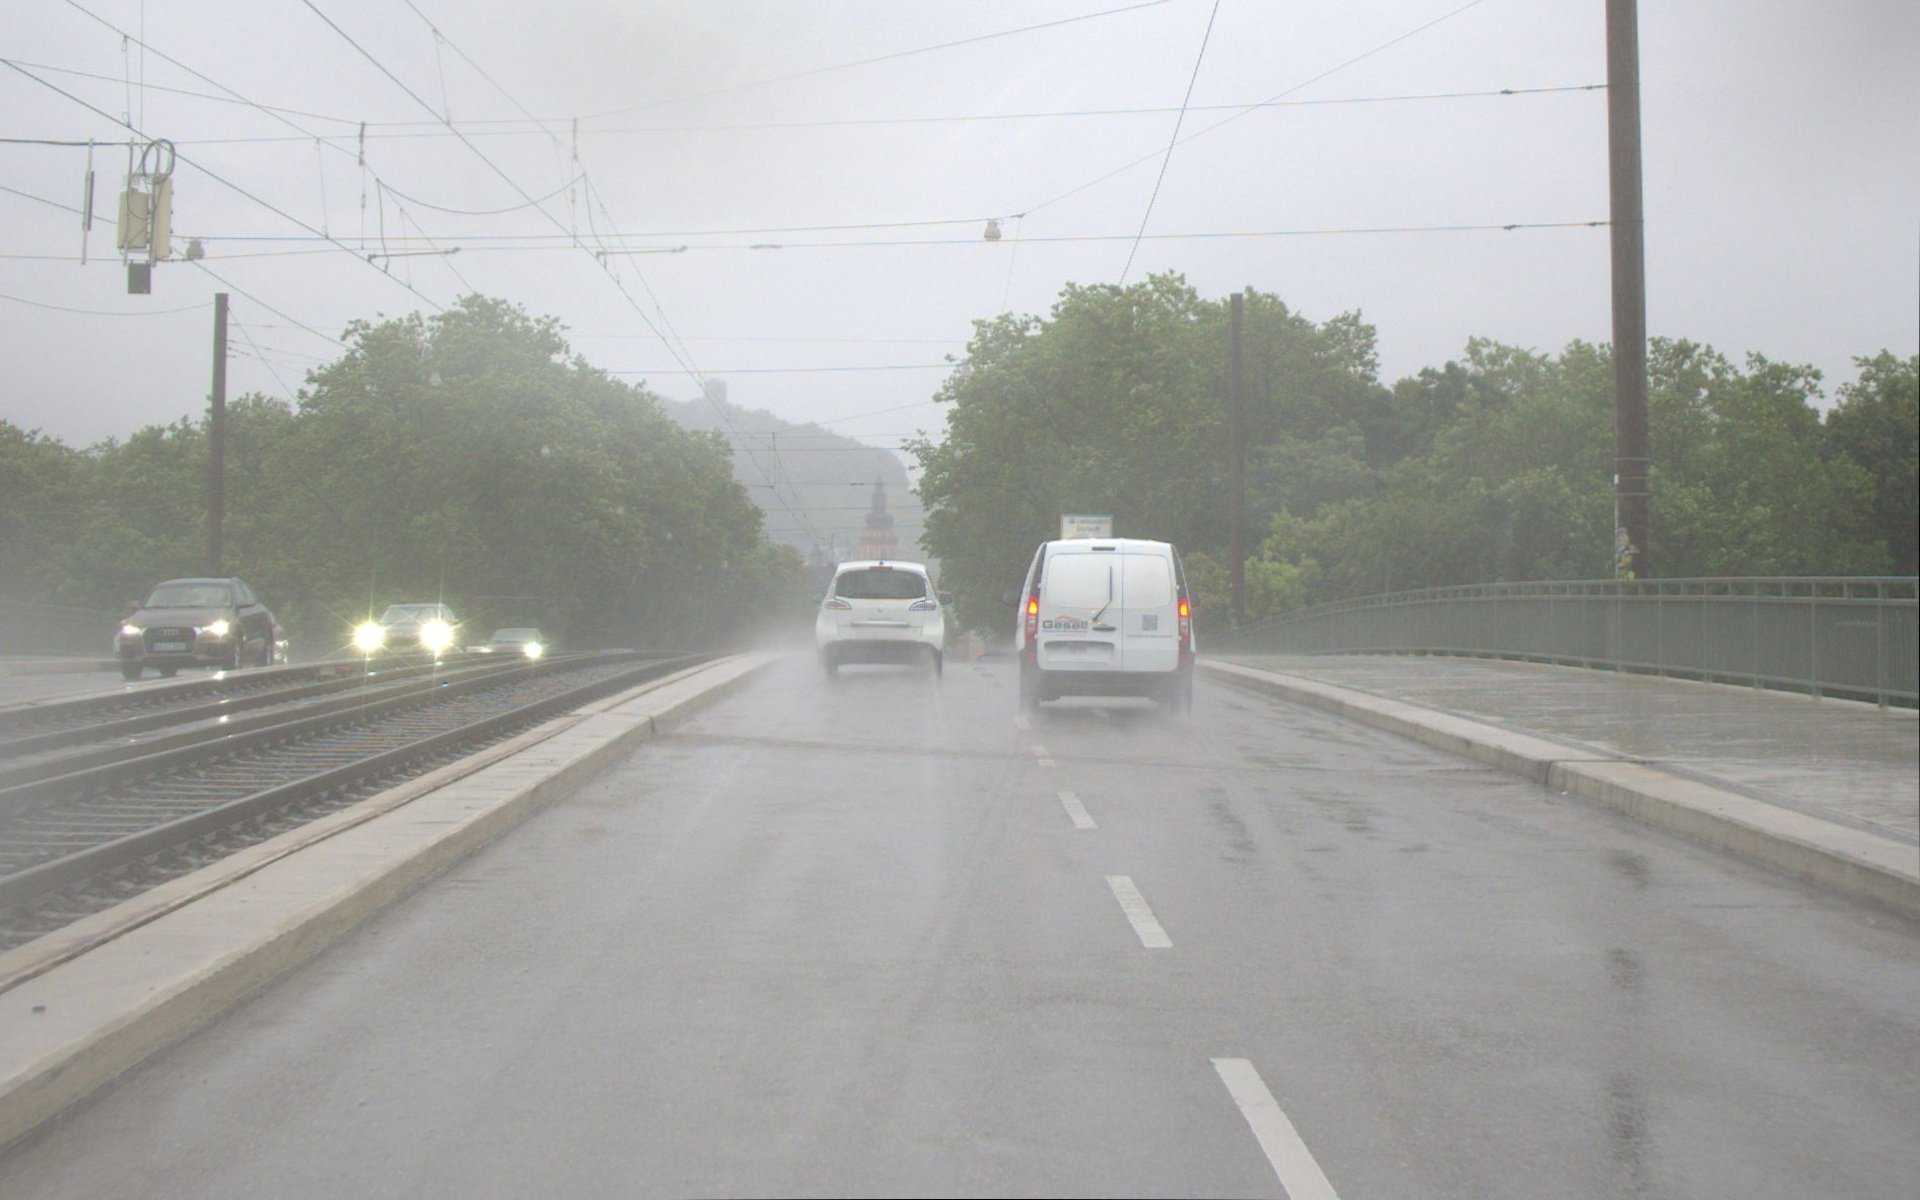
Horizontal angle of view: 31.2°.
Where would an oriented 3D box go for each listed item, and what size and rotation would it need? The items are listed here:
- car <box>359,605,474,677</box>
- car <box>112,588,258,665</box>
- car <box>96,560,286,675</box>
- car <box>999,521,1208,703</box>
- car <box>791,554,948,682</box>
[{"bbox_3d":[-12.135,0.931,77.078,1.993,1.504,5.113,-2,-1,-3],"label":"car"},{"bbox_3d":[-15.650,0.557,69.661,1.993,1.451,4.620,-2,-1,-1],"label":"car"},{"bbox_3d":[-12.362,0.312,55.546,1.993,1.711,4.941,-2,-1,-1],"label":"car"},{"bbox_3d":[1.451,0.154,35.551,1.993,1.720,3.999,2,-1,2],"label":"car"},{"bbox_3d":[-1.261,0.292,49.589,1.993,1.711,3.999,2,-1,2],"label":"car"}]
